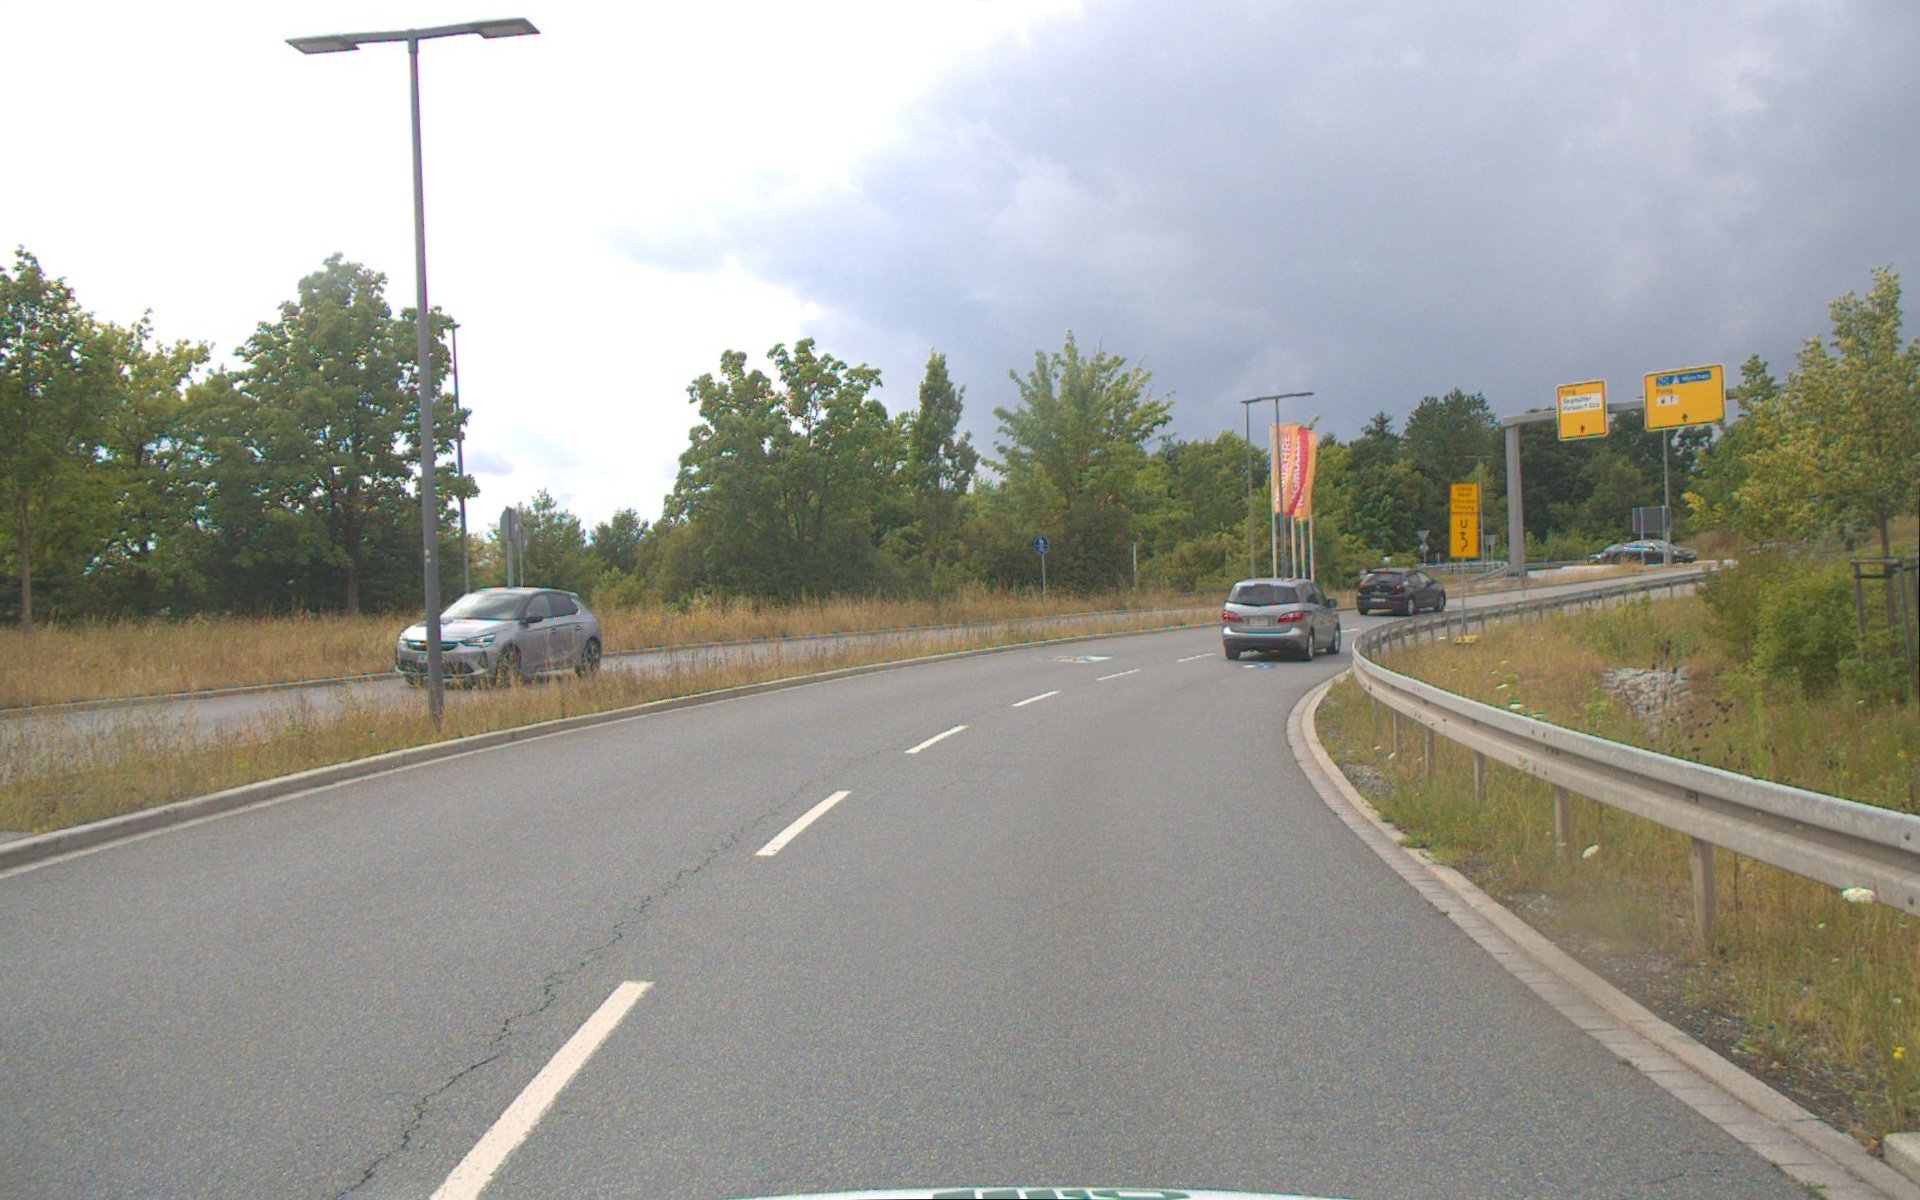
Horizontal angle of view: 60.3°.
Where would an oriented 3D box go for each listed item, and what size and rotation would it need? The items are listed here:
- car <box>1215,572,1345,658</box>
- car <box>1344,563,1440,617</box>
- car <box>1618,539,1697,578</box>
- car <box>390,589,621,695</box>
[{"bbox_3d":[6.619,0.281,33.924,1.732,1.645,3.920,-1,0,24],"label":"car"},{"bbox_3d":[13.711,-0.326,52.357,1.836,1.633,3.724,-1,0,33],"label":"car"},{"bbox_3d":[36.226,-2.134,86.034,1.861,1.814,4.149,-3,0,-8],"label":"car"},{"bbox_3d":[-6.950,0.600,25.726,1.428,1.512,4.097,-1,0,18],"label":"car"}]
